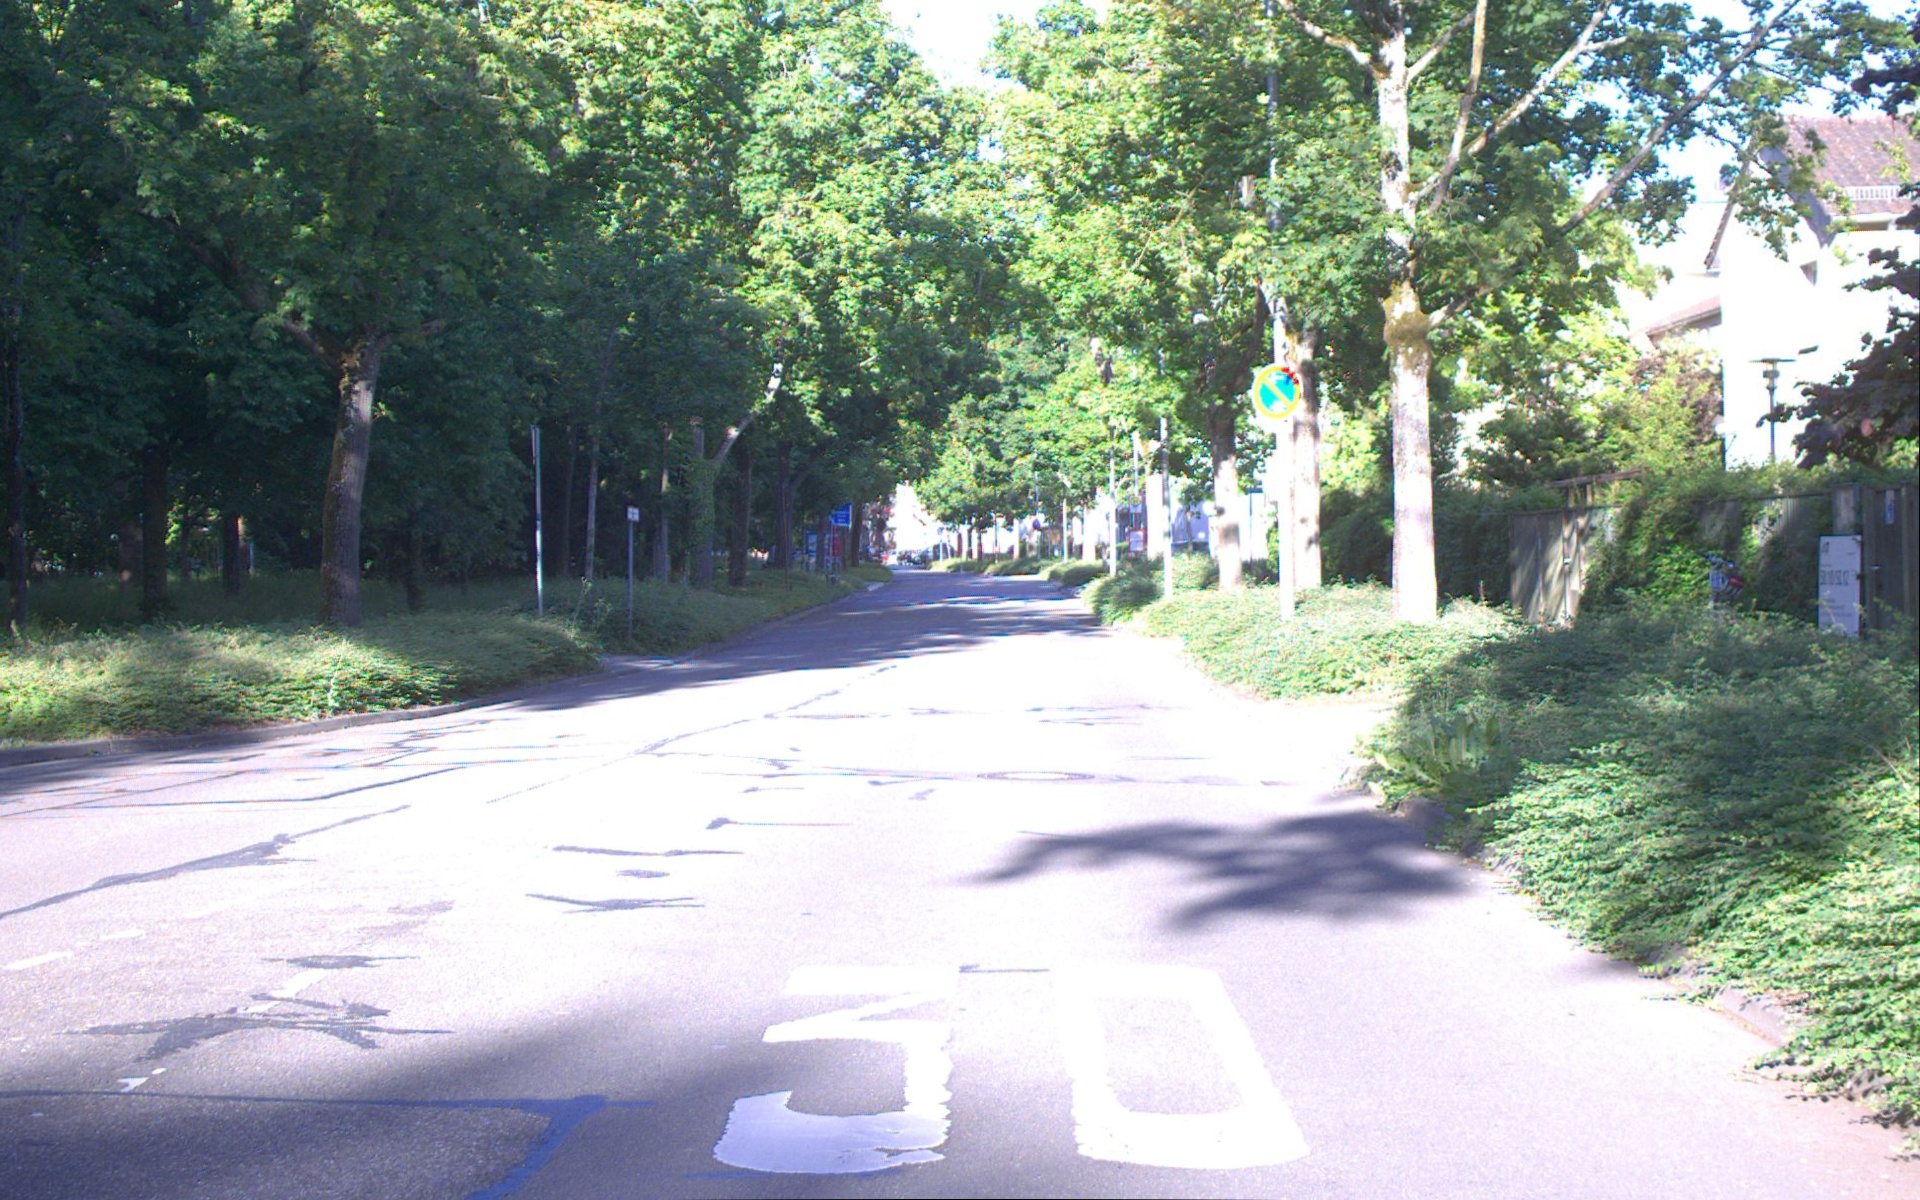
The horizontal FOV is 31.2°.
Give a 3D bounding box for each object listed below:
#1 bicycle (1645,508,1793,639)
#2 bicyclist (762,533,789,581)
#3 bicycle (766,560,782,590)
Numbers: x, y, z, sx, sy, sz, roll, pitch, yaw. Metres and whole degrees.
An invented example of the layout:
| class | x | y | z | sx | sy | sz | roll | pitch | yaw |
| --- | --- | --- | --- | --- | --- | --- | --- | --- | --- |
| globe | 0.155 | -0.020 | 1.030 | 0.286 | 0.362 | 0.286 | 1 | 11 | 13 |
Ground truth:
| class | x | y | z | sx | sy | sz | roll | pitch | yaw |
| --- | --- | --- | --- | --- | --- | --- | --- | --- | --- |
| bicycle | 7.579 | -0.282 | 34.240 | 0.884 | 1.196 | 2.323 | -3 | 1 | 26 |
| bicyclist | -6.385 | -1.500 | 119.093 | 0.867 | 1.635 | 1.115 | 0 | 2 | 1 |
| bicycle | -6.440 | -0.885 | 119.186 | 0.439 | 0.975 | 1.661 | -1 | 2 | 1 |
